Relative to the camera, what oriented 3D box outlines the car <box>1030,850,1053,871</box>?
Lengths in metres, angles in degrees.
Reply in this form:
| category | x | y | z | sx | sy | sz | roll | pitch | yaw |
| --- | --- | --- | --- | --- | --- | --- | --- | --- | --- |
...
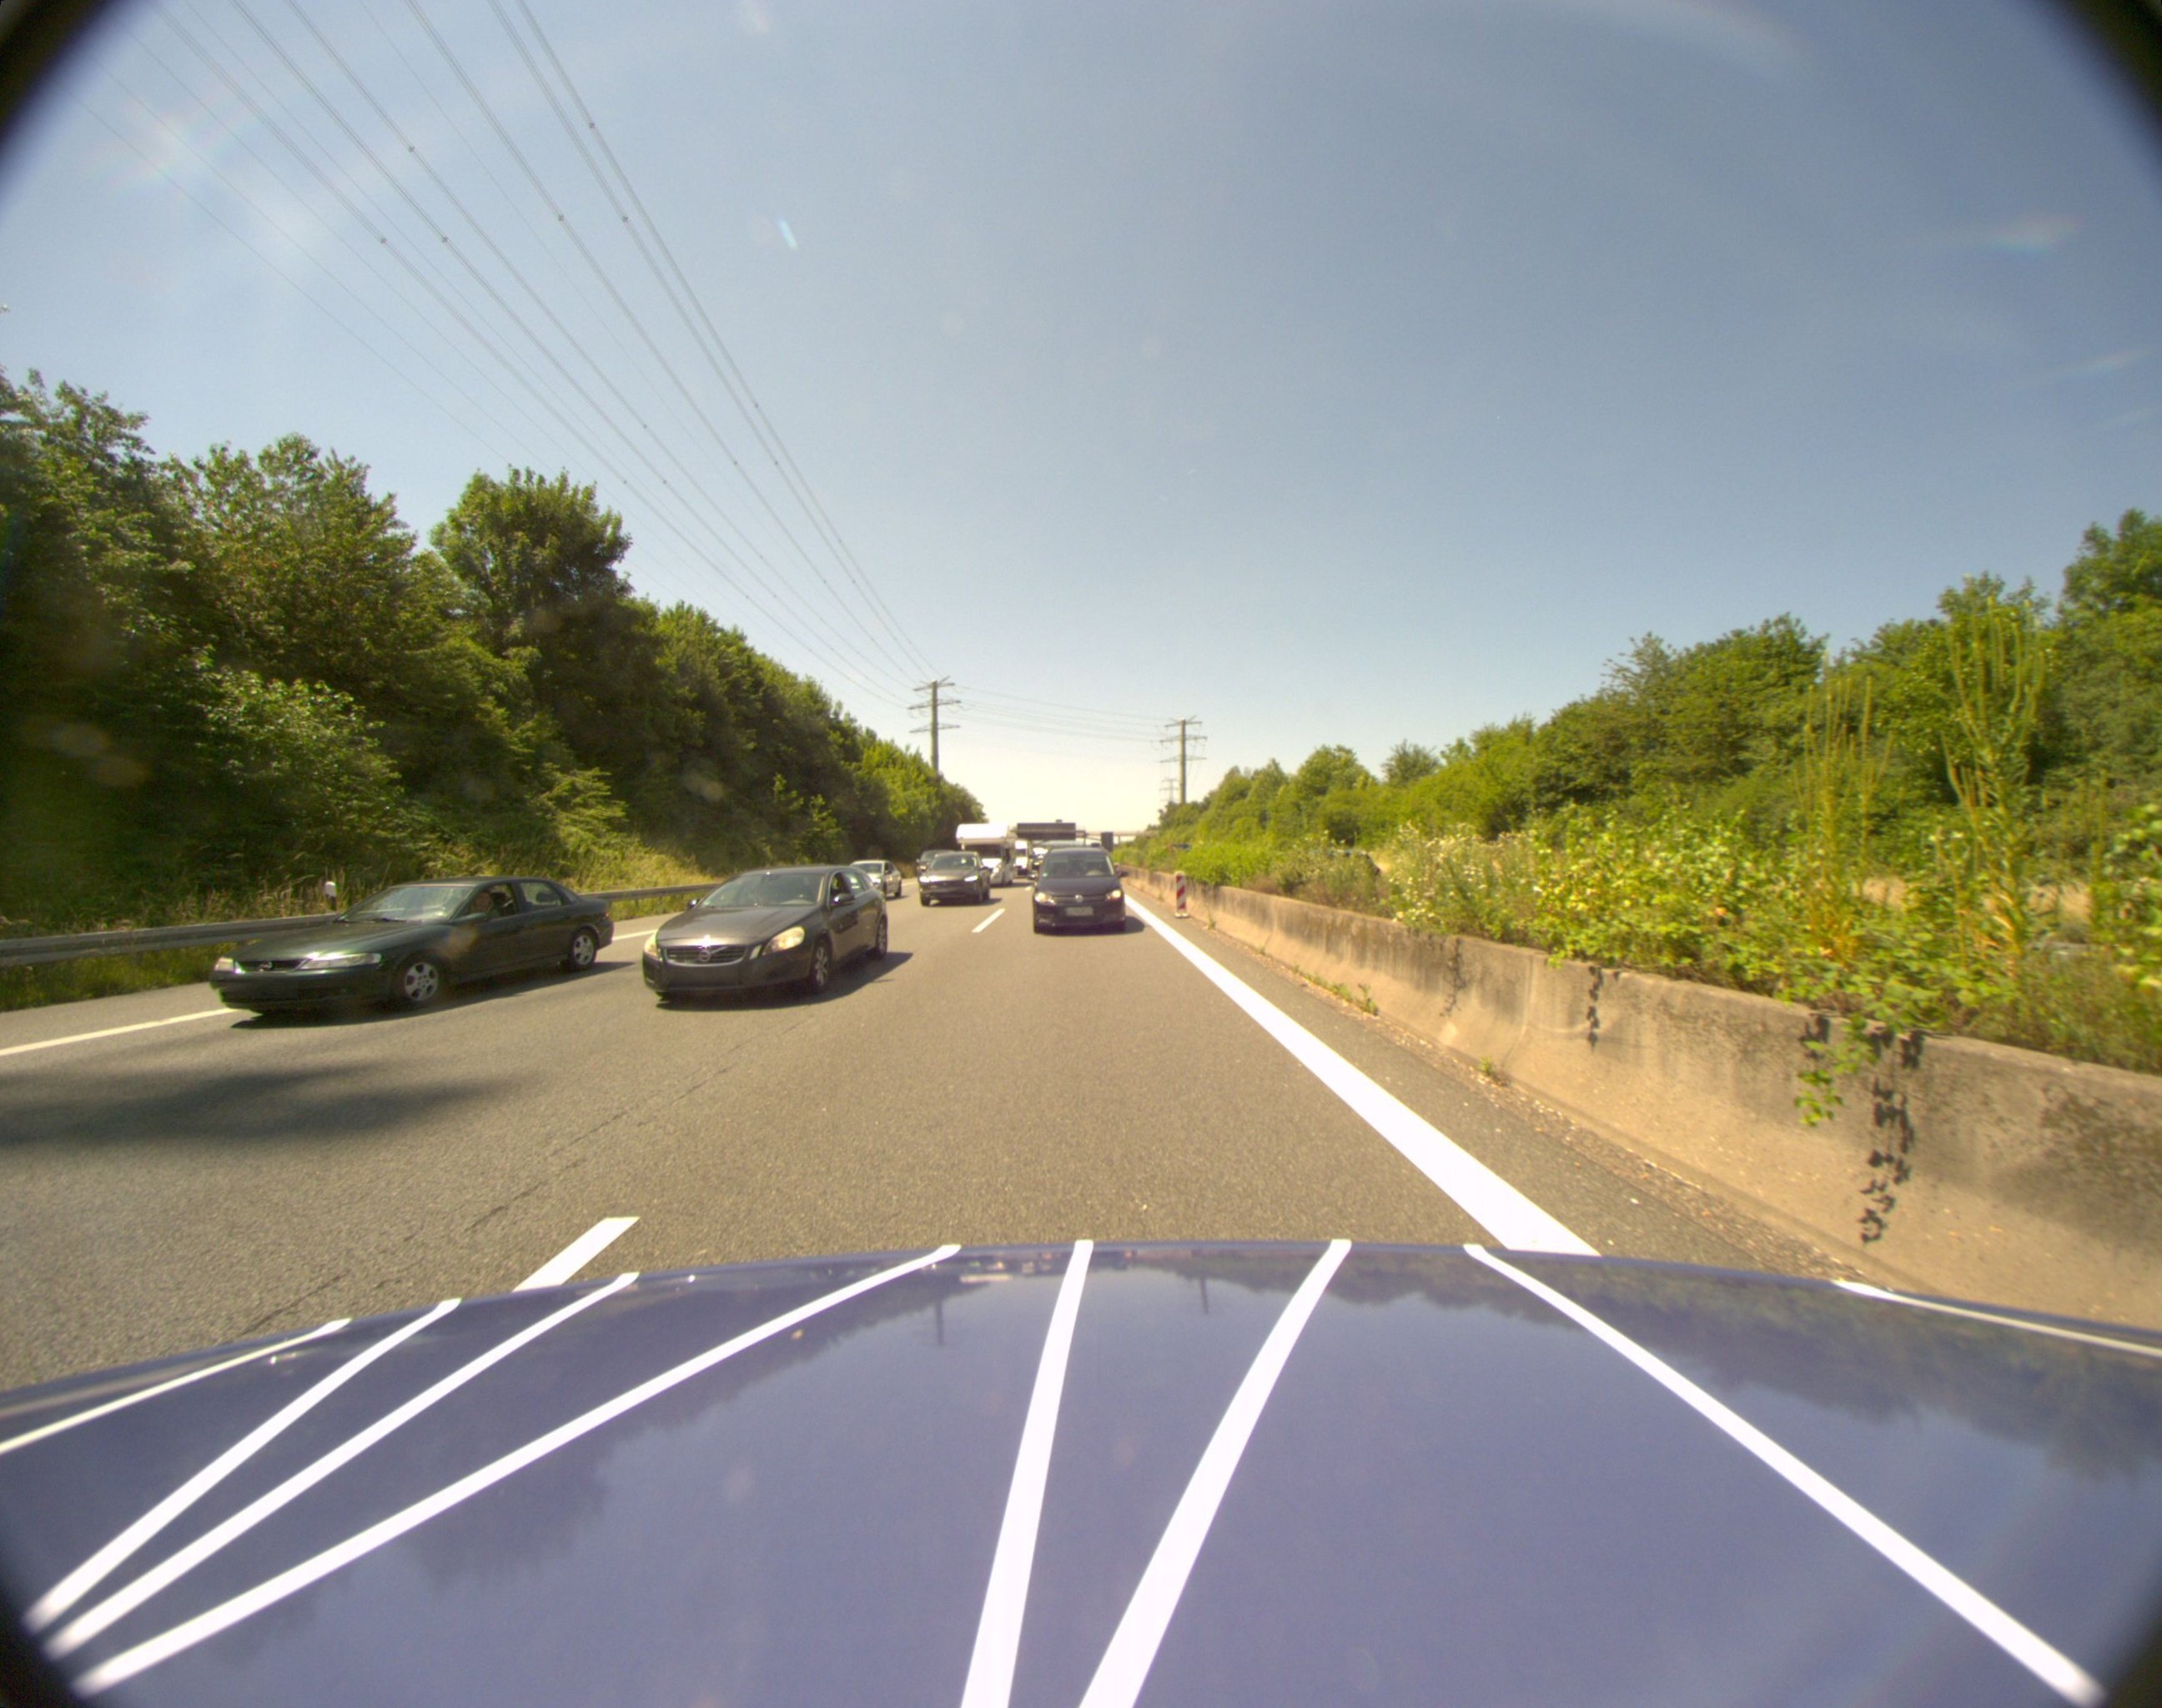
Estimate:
| category | x | y | z | sx | sy | sz | roll | pitch | yaw |
| --- | --- | --- | --- | --- | --- | --- | --- | --- | --- |
| car | -3.434 | 0.521 | 66.609 | 1.892 | 1.693 | 4.382 | -2 | 1 | -2 |

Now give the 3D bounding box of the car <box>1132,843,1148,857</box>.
| category | x | y | z | sx | sy | sz | roll | pitch | yaw |
| --- | --- | --- | --- | --- | --- | --- | --- | --- | --- |
| car | 13.411 | -0.967 | 173.648 | 2.769 | 2.856 | 7.675 | -2 | 1 | -1 |

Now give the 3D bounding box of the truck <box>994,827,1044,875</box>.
| category | x | y | z | sx | sy | sz | roll | pitch | yaw |
| --- | --- | --- | --- | --- | --- | --- | --- | --- | --- |
| truck | -4.225 | -0.231 | 53.649 | 2.514 | 2.997 | 9.896 | -2 | 1 | 1 |

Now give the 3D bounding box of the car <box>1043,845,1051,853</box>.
| category | x | y | z | sx | sy | sz | roll | pitch | yaw |
| --- | --- | --- | --- | --- | --- | --- | --- | --- | --- |
| car | -8.883 | -1.347 | 199.747 | 1.998 | 2.002 | 3.999 | -2 | 1 | 0 |

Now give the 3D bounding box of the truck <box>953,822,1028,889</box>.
| category | x | y | z | sx | sy | sz | roll | pitch | yaw |
| --- | --- | --- | --- | --- | --- | --- | --- | --- | --- |
| truck | -4.477 | 0.007 | 39.624 | 2.514 | 2.997 | 9.896 | -2 | 1 | 1 |

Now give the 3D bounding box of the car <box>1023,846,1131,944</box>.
| category | x | y | z | sx | sy | sz | roll | pitch | yaw |
| --- | --- | --- | --- | --- | --- | --- | --- | --- | --- |
| car | -0.128 | 0.710 | 15.834 | 1.892 | 1.693 | 4.382 | -2 | 1 | -2 |

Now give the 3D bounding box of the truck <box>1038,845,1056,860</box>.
| category | x | y | z | sx | sy | sz | roll | pitch | yaw |
| --- | --- | --- | --- | --- | --- | --- | --- | --- | --- |
| truck | -5.311 | -0.259 | 120.195 | 2.409 | 2.203 | 6.743 | -2 | 1 | 1 |

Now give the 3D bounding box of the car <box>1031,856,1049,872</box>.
| category | x | y | z | sx | sy | sz | roll | pitch | yaw |
| --- | --- | --- | --- | --- | --- | --- | --- | --- | --- |
| car | -4.701 | 1.163 | 87.128 | 1.892 | 1.693 | 4.382 | -2 | 1 | -2 |

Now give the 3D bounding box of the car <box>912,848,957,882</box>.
| category | x | y | z | sx | sy | sz | roll | pitch | yaw |
| --- | --- | --- | --- | --- | --- | --- | --- | --- | --- |
| car | -8.834 | 0.614 | 46.048 | 1.789 | 1.893 | 4.697 | -2 | 1 | -1 |

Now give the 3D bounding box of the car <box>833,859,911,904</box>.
| category | x | y | z | sx | sy | sz | roll | pitch | yaw |
| --- | --- | --- | --- | --- | --- | --- | --- | --- | --- |
| car | -7.727 | 0.970 | 28.449 | 1.745 | 1.461 | 4.013 | -2 | 1 | 0 |

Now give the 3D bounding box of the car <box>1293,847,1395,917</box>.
| category | x | y | z | sx | sy | sz | roll | pitch | yaw |
| --- | --- | --- | --- | --- | --- | --- | --- | --- | --- |
| car | 8.134 | 0.789 | 23.908 | 1.833 | 2.002 | 3.999 | 0 | 0 | 0 |

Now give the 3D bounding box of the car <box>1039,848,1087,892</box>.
| category | x | y | z | sx | sy | sz | roll | pitch | yaw |
| --- | --- | --- | --- | --- | --- | --- | --- | --- | --- |
| car | -0.797 | 0.628 | 32.737 | 1.892 | 1.693 | 4.382 | -2 | 1 | -2 |

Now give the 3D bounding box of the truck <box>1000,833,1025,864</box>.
| category | x | y | z | sx | sy | sz | roll | pitch | yaw |
| --- | --- | --- | --- | --- | --- | --- | --- | --- | --- |
| truck | -8.577 | -0.721 | 95.764 | 2.409 | 3.557 | 9.189 | -2 | 1 | -2 |

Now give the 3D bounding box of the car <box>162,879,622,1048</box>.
| category | x | y | z | sx | sy | sz | roll | pitch | yaw |
| --- | --- | --- | --- | --- | --- | --- | --- | --- | --- |
| car | -7.904 | 1.123 | 9.438 | 1.739 | 1.370 | 4.301 | -2 | 1 | 0 |

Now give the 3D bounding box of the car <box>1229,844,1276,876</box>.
| category | x | y | z | sx | sy | sz | roll | pitch | yaw |
| --- | --- | --- | --- | --- | --- | --- | --- | --- | --- |
| car | 11.461 | 0.377 | 51.073 | 1.966 | 2.002 | 4.409 | 0 | 0 | -2 |

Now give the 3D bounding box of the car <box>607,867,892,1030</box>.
| category | x | y | z | sx | sy | sz | roll | pitch | yaw |
| --- | --- | --- | --- | --- | --- | --- | --- | --- | --- |
| car | -3.784 | 0.964 | 9.601 | 1.801 | 1.429 | 4.229 | -2 | 1 | -2 |

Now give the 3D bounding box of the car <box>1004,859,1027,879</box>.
| category | x | y | z | sx | sy | sz | roll | pitch | yaw |
| --- | --- | --- | --- | --- | --- | --- | --- | --- | --- |
| car | -6.167 | 1.409 | 72.290 | 1.892 | 1.693 | 4.382 | -2 | 1 | -2 |

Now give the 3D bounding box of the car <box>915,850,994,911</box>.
| category | x | y | z | sx | sy | sz | roll | pitch | yaw |
| --- | --- | --- | --- | --- | --- | --- | --- | --- | --- |
| car | -3.959 | 0.770 | 24.483 | 1.892 | 1.693 | 4.382 | -2 | 1 | -2 |
